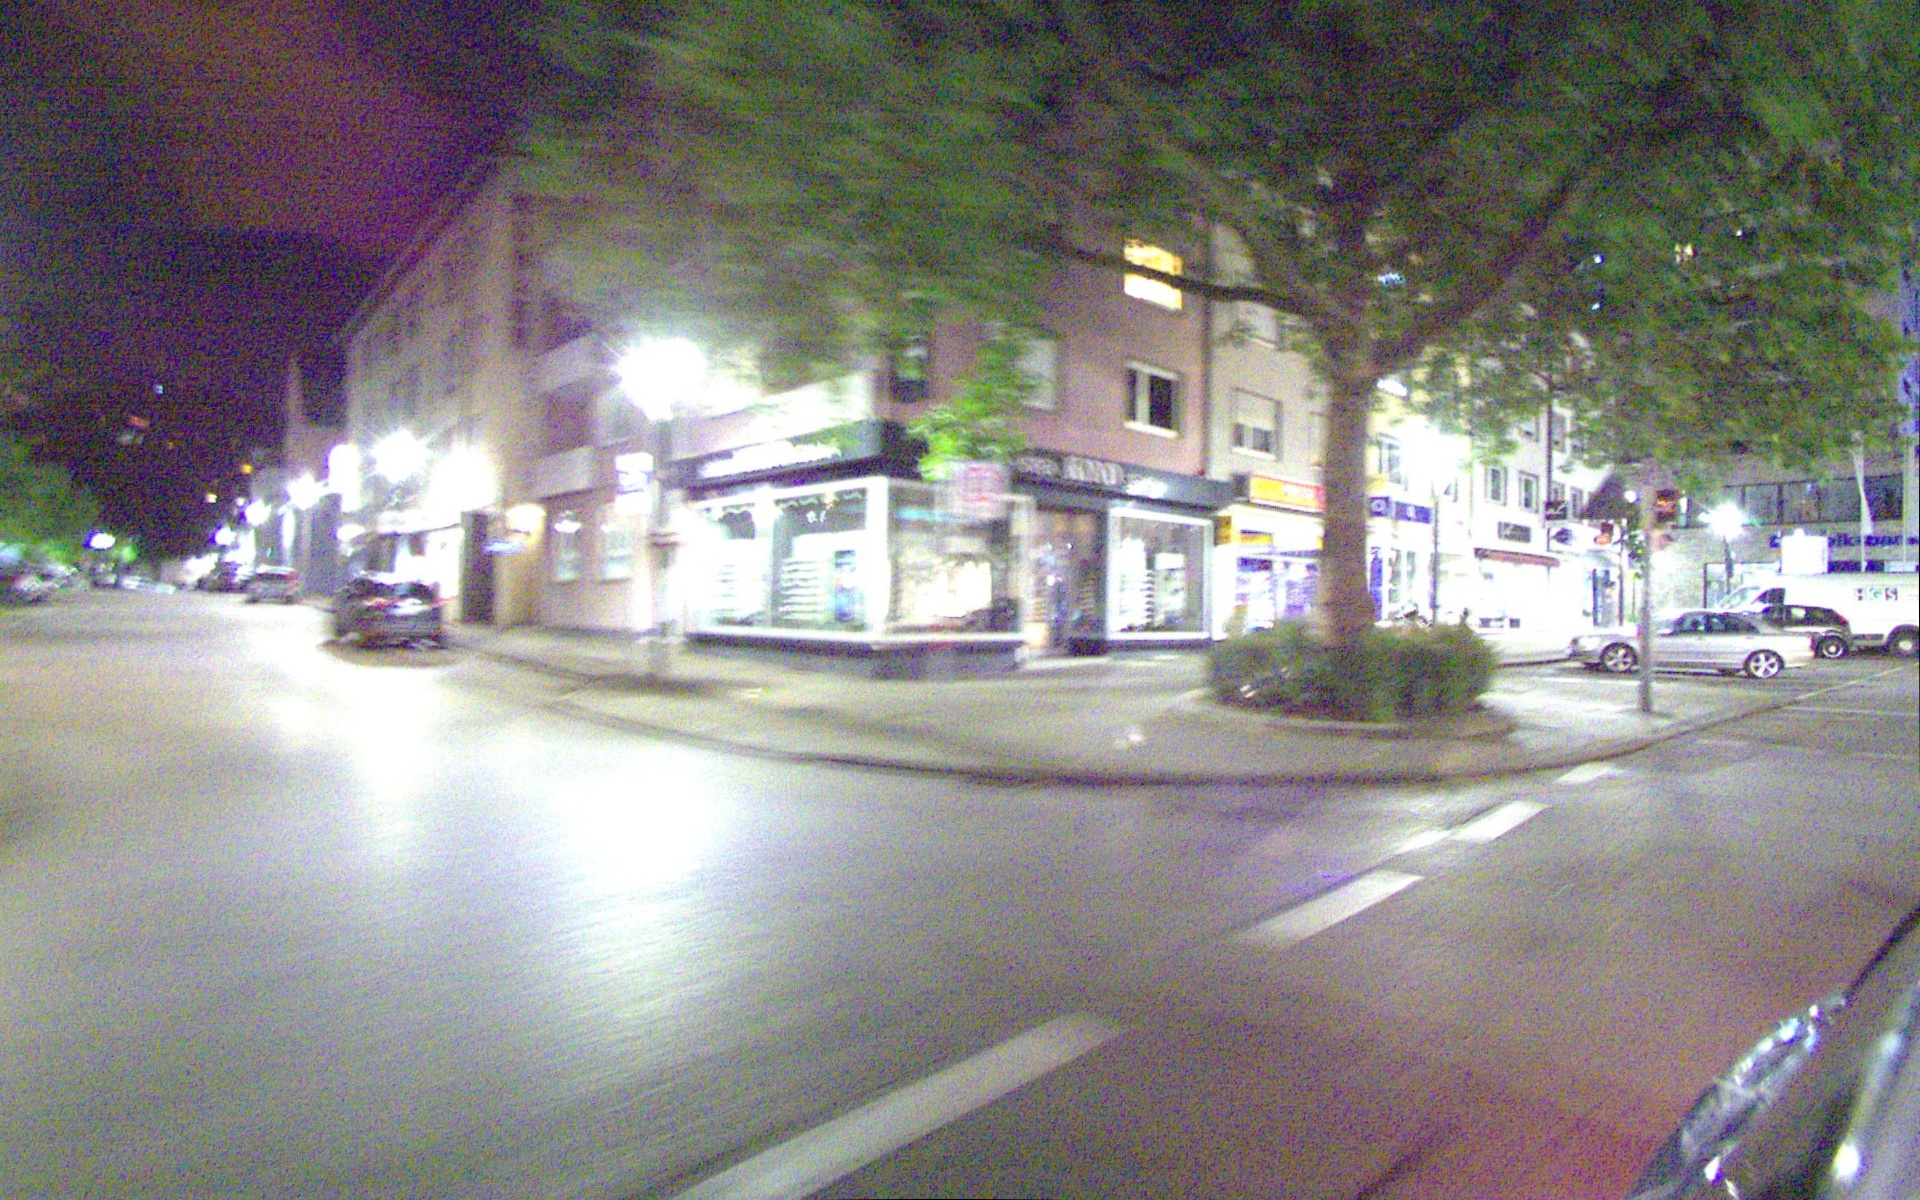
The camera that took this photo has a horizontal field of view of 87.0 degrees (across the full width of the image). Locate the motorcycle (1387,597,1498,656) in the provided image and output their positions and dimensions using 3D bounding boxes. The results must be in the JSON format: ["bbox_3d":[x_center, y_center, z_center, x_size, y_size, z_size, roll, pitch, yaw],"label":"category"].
[{"bbox_3d":[10.857,0.593,22.840,2.185,1.287,0.531,0,0,9],"label":"motorcycle"}]

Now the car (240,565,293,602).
[{"bbox_3d":[-29.860,-0.717,43.542,1.622,1.518,3.521,2,0,-38],"label":"car"}]

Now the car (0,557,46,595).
[{"bbox_3d":[-39.245,-0.944,40.598,3.728,1.498,1.750,0,0,-41],"label":"car"}]

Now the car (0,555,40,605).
[{"bbox_3d":[-30.266,-0.596,30.474,3.728,1.498,1.750,0,0,-41],"label":"car"}]

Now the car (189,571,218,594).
[{"bbox_3d":[-54.472,-1.257,72.843,1.445,1.518,3.519,2,0,-40],"label":"car"}]

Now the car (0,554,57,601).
[{"bbox_3d":[-31.943,-0.733,32.959,3.728,1.498,1.750,0,0,-41],"label":"car"}]

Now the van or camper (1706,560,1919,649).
[{"bbox_3d":[26.578,0.106,30.683,5.977,2.565,2.148,1,0,21],"label":"van or camper"}]

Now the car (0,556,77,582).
[{"bbox_3d":[-57.224,-1.891,62.732,3.728,1.498,1.750,0,0,-41],"label":"car"}]

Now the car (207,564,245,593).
[{"bbox_3d":[-40.646,-1.181,56.027,1.445,1.518,3.519,2,0,-40],"label":"car"}]

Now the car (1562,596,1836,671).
[{"bbox_3d":[15.848,0.677,21.957,4.483,1.474,1.629,1,0,16],"label":"car"}]

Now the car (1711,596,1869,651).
[{"bbox_3d":[23.709,0.632,29.047,3.144,1.474,1.681,1,0,24],"label":"car"}]

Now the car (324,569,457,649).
[{"bbox_3d":[-12.769,0.145,22.588,1.867,1.609,3.996,2,0,-40],"label":"car"}]

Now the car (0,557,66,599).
[{"bbox_3d":[-35.131,-0.796,36.937,3.728,1.498,1.750,0,0,-41],"label":"car"}]
